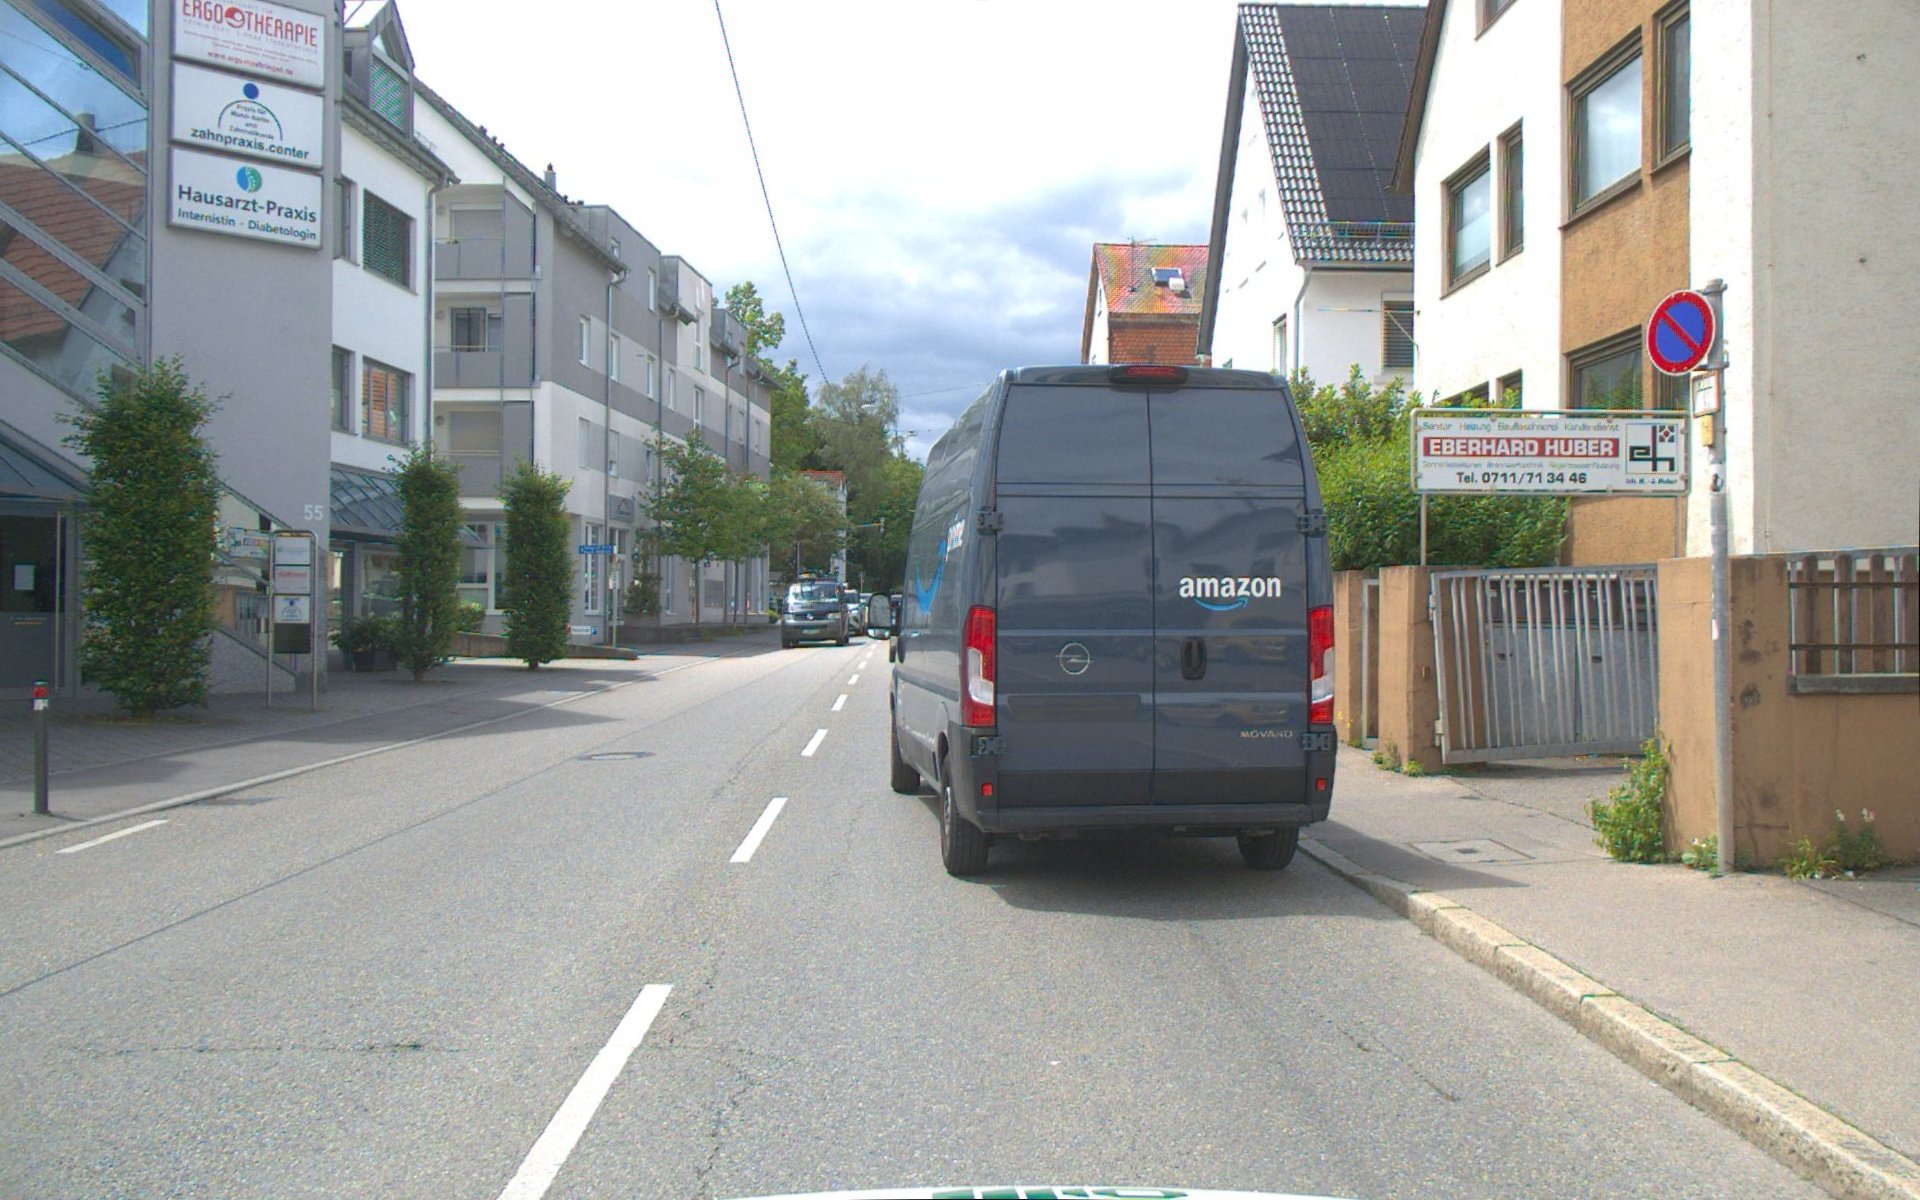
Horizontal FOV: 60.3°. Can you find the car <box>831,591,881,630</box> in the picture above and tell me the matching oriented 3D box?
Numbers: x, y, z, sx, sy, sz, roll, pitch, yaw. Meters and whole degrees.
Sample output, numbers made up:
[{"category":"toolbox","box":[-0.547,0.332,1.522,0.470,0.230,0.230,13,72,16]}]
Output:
[{"category":"car","box":[-4.536,0.437,72.556,2.063,1.624,4.648,0,0,-2]}]

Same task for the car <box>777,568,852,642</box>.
[{"category":"car","box":[-4.401,0.141,50.679,2.063,2.158,4.763,0,0,-2]}]

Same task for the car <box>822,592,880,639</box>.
[{"category":"car","box":[-4.110,0.569,62.940,2.063,1.739,4.763,0,0,-2]}]

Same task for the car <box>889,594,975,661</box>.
[{"category":"car","box":[-0.603,0.598,38.611,1.857,1.479,3.969,0,0,1]}]

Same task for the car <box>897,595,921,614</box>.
[{"category":"car","box":[-4.377,0.371,141.978,2.063,1.624,4.648,0,0,-2]}]

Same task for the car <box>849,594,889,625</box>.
[{"category":"car","box":[-4.893,0.481,89.079,2.063,1.624,4.648,0,0,-2]}]

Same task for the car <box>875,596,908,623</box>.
[{"category":"car","box":[-4.274,0.567,103.477,2.063,1.624,4.648,0,0,-2]}]

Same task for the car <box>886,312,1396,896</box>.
[{"category":"car","box":[0.794,0.013,10.963,2.209,2.844,5.561,0,0,-6]}]
